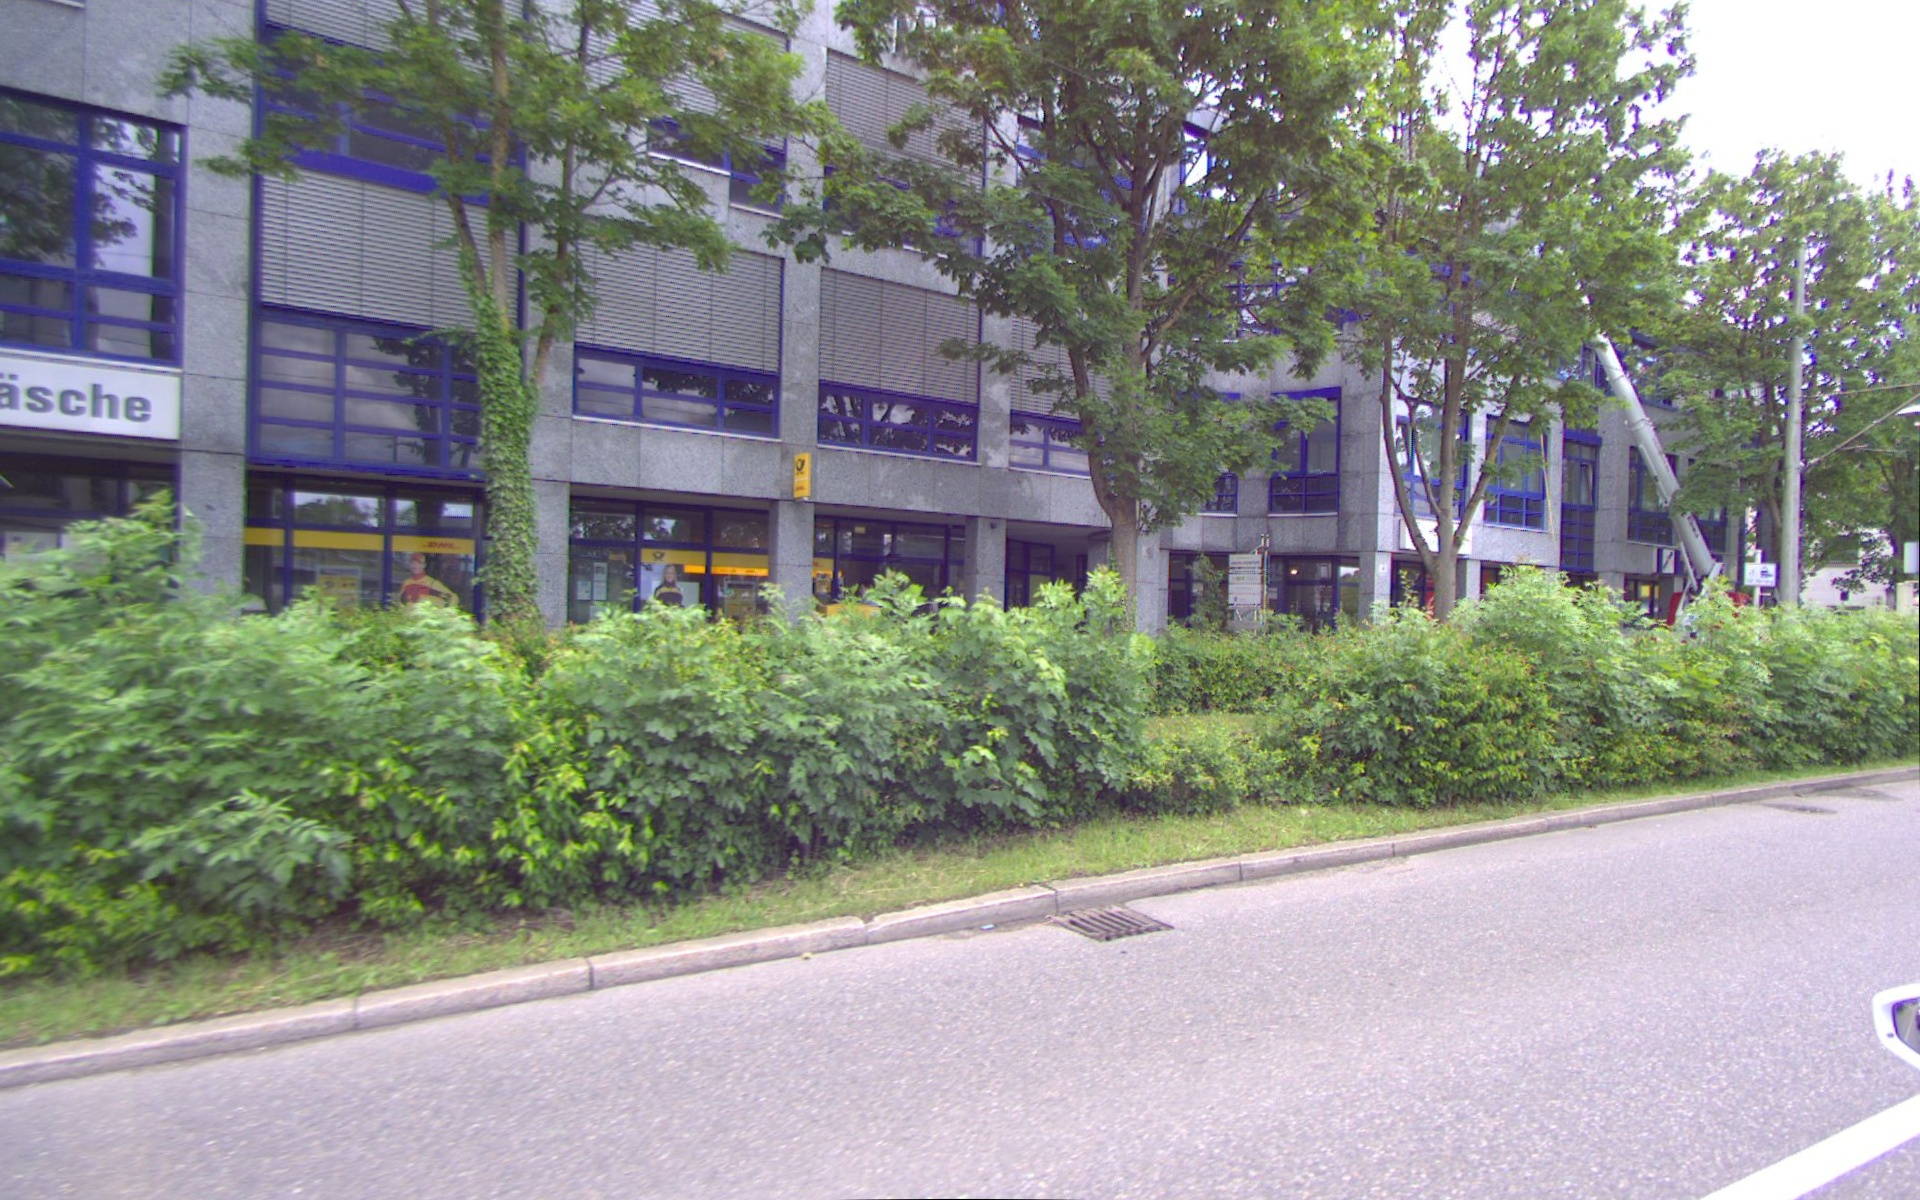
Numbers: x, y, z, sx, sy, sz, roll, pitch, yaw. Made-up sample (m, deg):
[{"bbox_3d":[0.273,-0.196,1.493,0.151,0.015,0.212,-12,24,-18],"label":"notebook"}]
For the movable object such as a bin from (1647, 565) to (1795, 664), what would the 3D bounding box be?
[{"bbox_3d":[21.756,0.394,28.691,4.081,2.566,1.894,1,3,-32],"label":"movable object such as a bin"}]

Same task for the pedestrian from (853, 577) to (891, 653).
[{"bbox_3d":[-1.623,0.273,18.535,0.553,1.352,0.362,1,4,-36],"label":"pedestrian"}]
